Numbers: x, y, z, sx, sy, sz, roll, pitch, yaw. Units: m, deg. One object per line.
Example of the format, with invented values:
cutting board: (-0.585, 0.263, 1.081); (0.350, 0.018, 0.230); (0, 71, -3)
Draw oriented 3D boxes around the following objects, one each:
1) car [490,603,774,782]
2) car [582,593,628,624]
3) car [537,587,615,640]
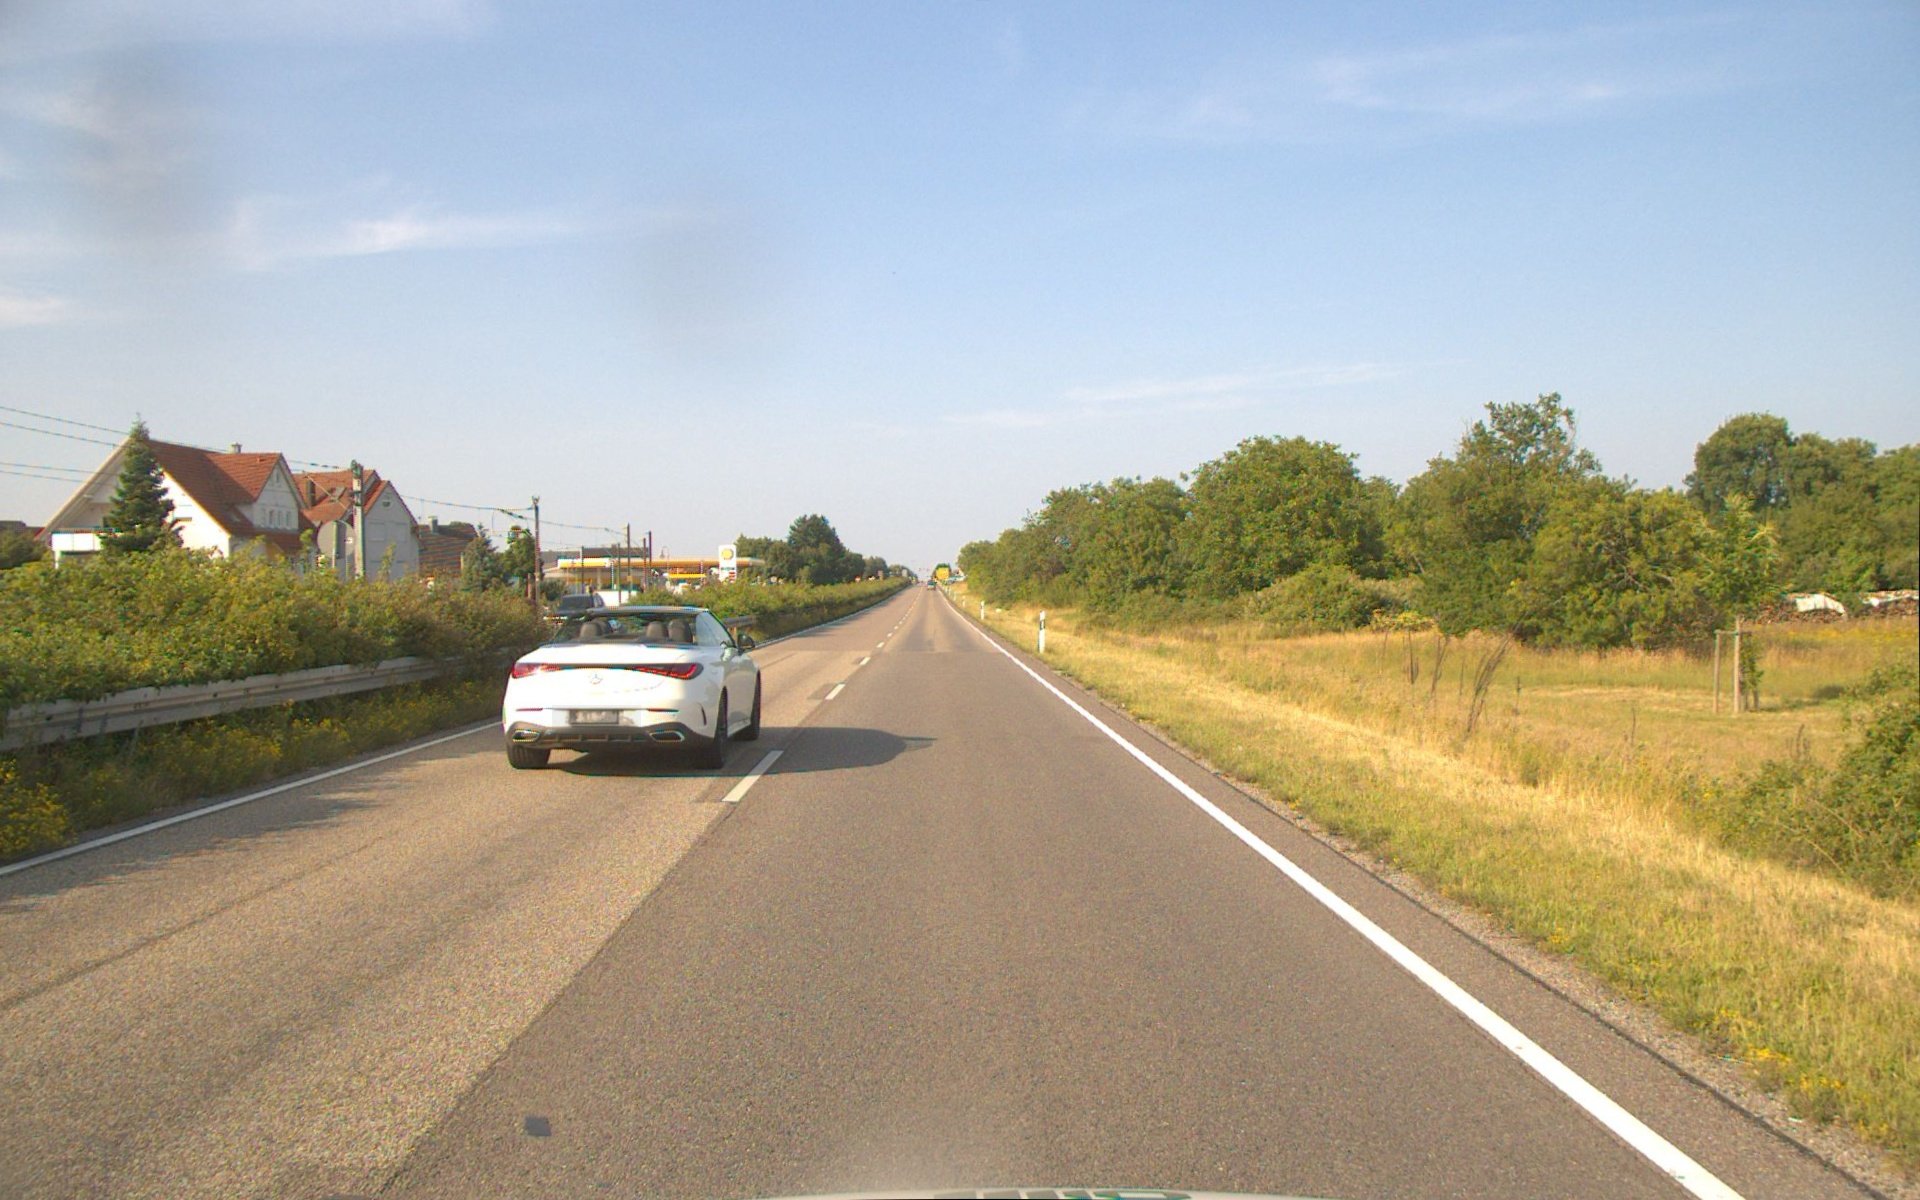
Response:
car: (-2.870, 0.737, 15.543); (1.735, 1.361, 4.949); (1, 0, -1)
car: (-21.142, 0.495, 98.733); (1.953, 1.780, 3.999); (1, 0, -2)
car: (-13.323, 0.446, 57.617); (1.694, 1.662, 4.318); (-3, 0, -1)
